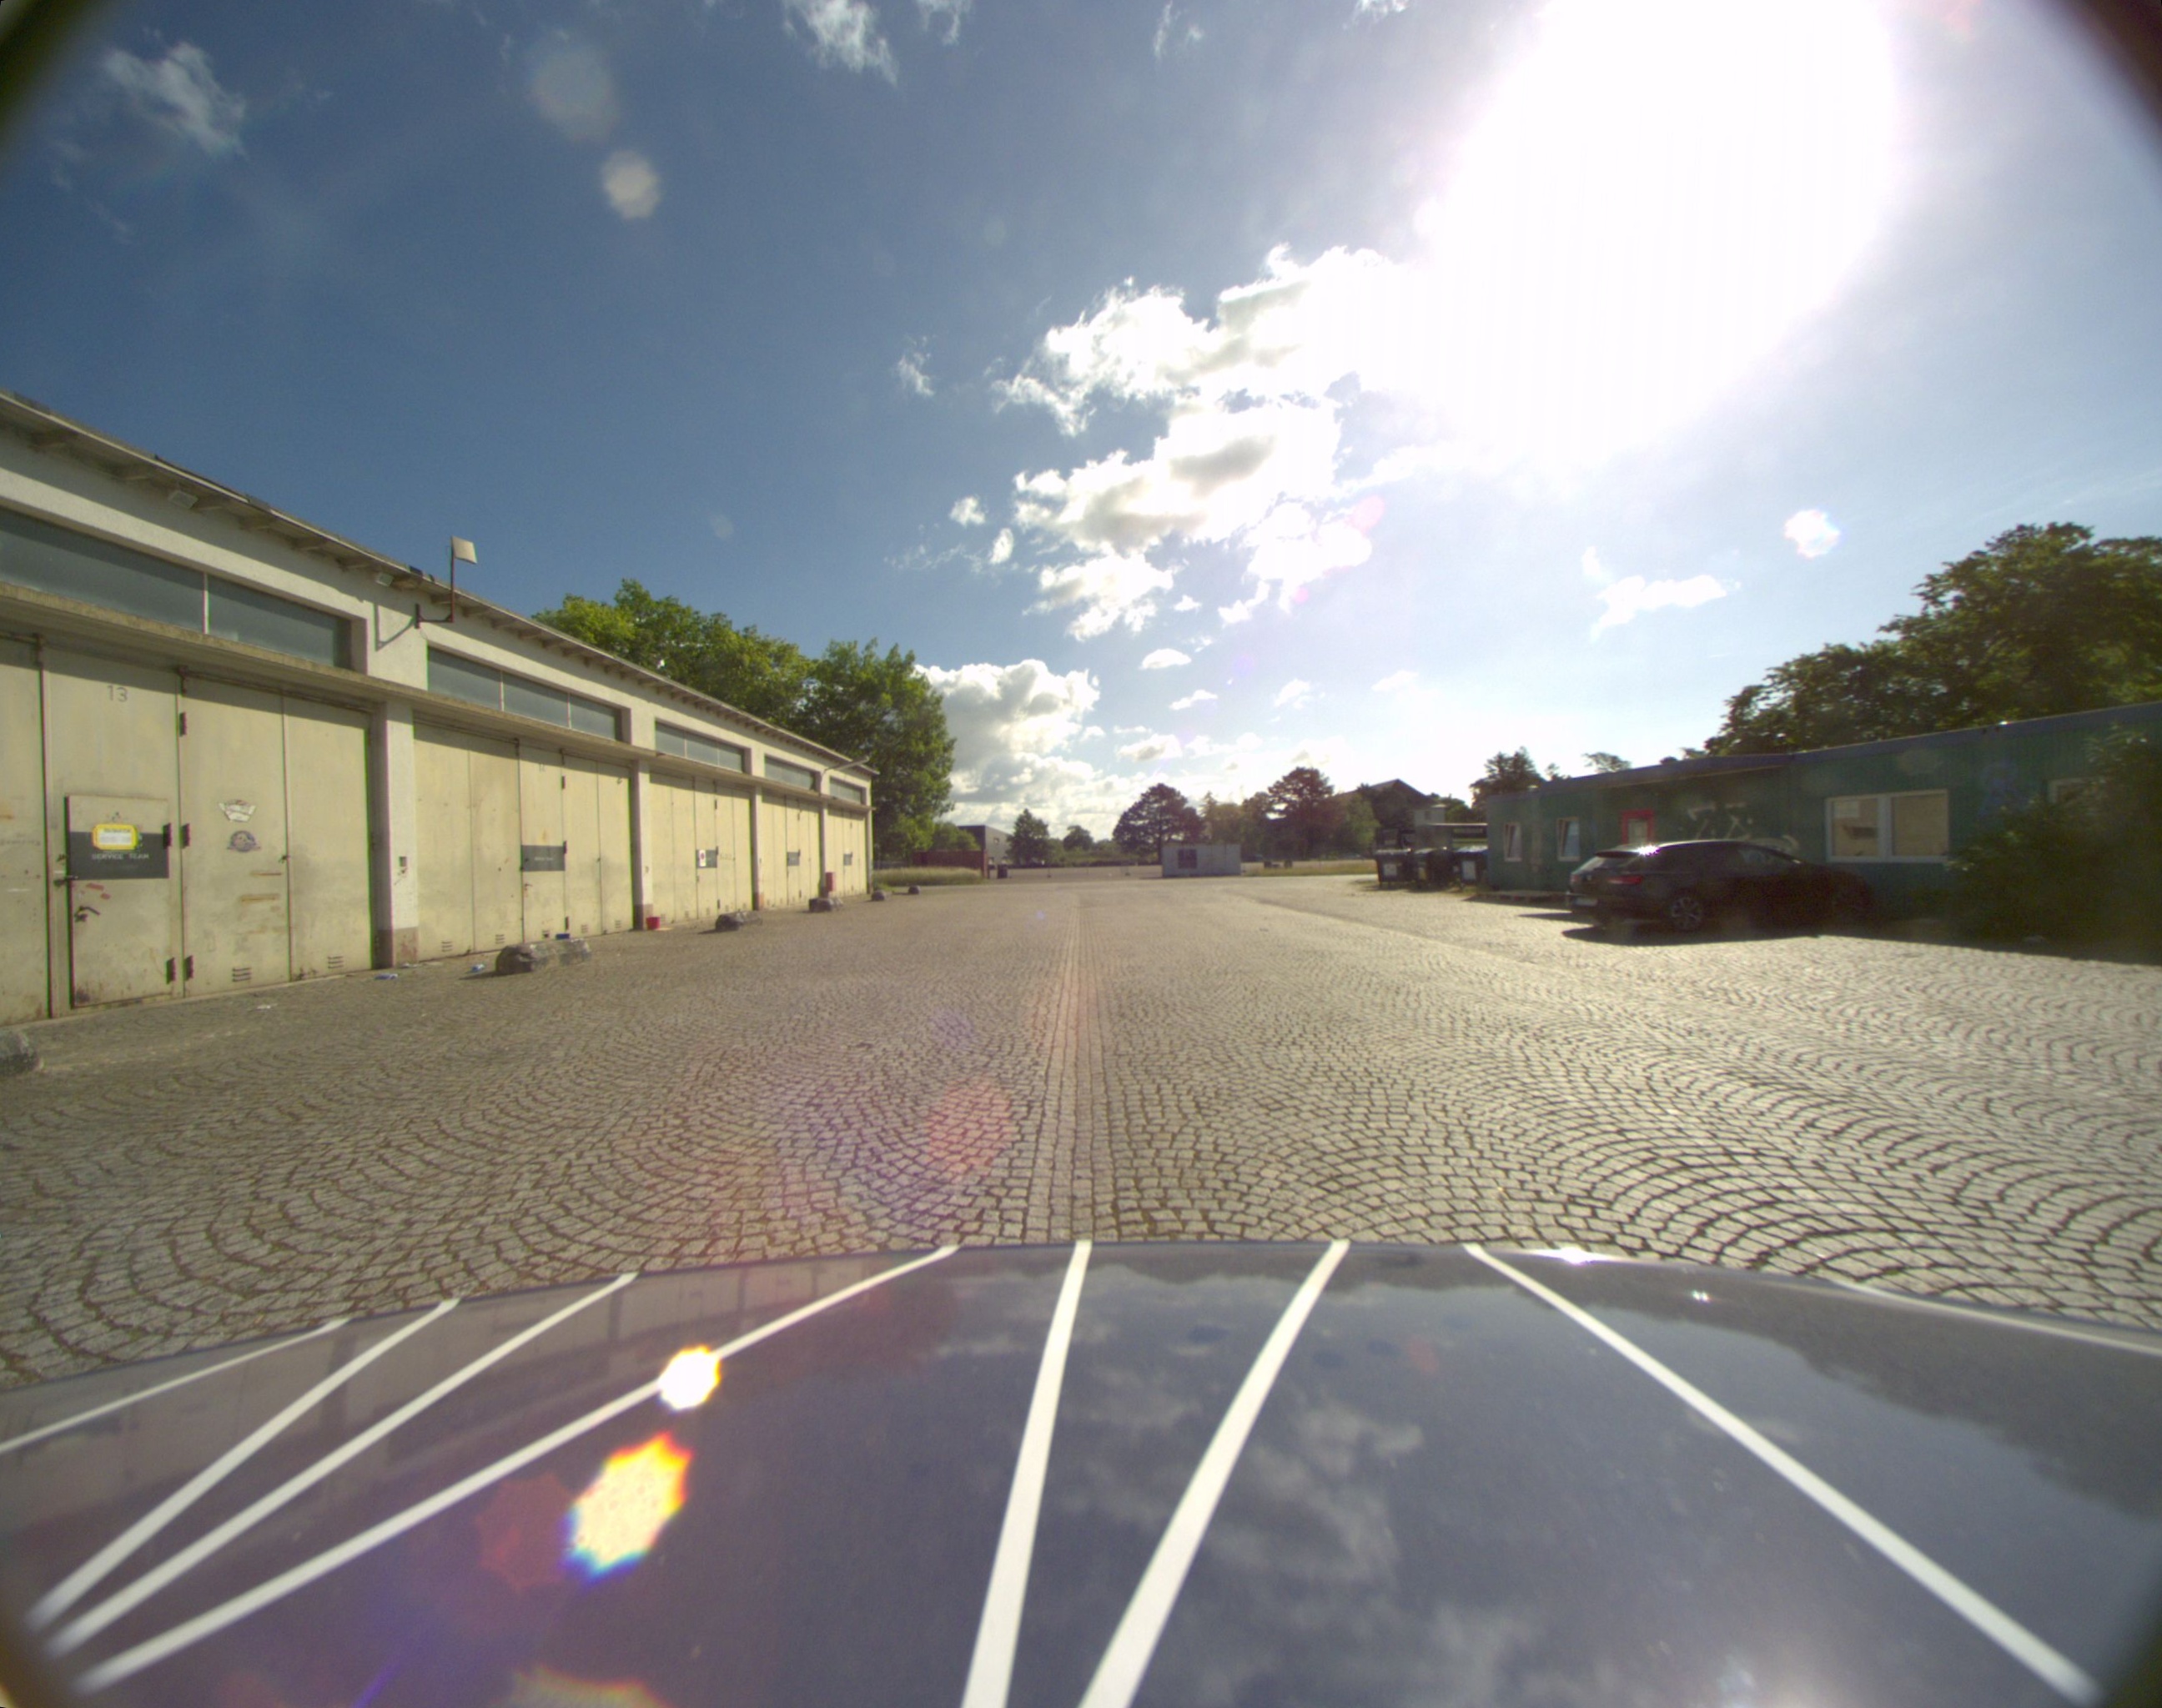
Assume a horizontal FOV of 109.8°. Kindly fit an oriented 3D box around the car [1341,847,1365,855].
[{"bbox_3d":[54.098,-0.577,151.335,3.998,1.573,1.999,-2,0,-4],"label":"car"}]

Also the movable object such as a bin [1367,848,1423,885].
[{"bbox_3d":[12.064,0.473,29.153,1.389,1.378,1.531,-2,0,-44],"label":"movable object such as a bin"}]

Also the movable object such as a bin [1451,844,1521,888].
[{"bbox_3d":[13.498,0.382,25.363,1.386,1.378,1.534,-2,0,-12],"label":"movable object such as a bin"}]

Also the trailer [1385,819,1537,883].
[{"bbox_3d":[15.029,-0.118,30.206,4.973,2.341,2.095,-2,0,-3],"label":"trailer"}]

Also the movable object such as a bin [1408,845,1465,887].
[{"bbox_3d":[12.610,0.410,27.010,1.299,1.414,1.536,-2,0,1],"label":"movable object such as a bin"}]

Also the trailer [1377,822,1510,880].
[{"bbox_3d":[15.495,-0.105,32.691,4.666,2.284,2.137,-2,0,1],"label":"trailer"}]

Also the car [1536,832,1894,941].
[{"bbox_3d":[10.468,0.499,12.791,4.427,1.456,1.999,-3,0,-3],"label":"car"}]
